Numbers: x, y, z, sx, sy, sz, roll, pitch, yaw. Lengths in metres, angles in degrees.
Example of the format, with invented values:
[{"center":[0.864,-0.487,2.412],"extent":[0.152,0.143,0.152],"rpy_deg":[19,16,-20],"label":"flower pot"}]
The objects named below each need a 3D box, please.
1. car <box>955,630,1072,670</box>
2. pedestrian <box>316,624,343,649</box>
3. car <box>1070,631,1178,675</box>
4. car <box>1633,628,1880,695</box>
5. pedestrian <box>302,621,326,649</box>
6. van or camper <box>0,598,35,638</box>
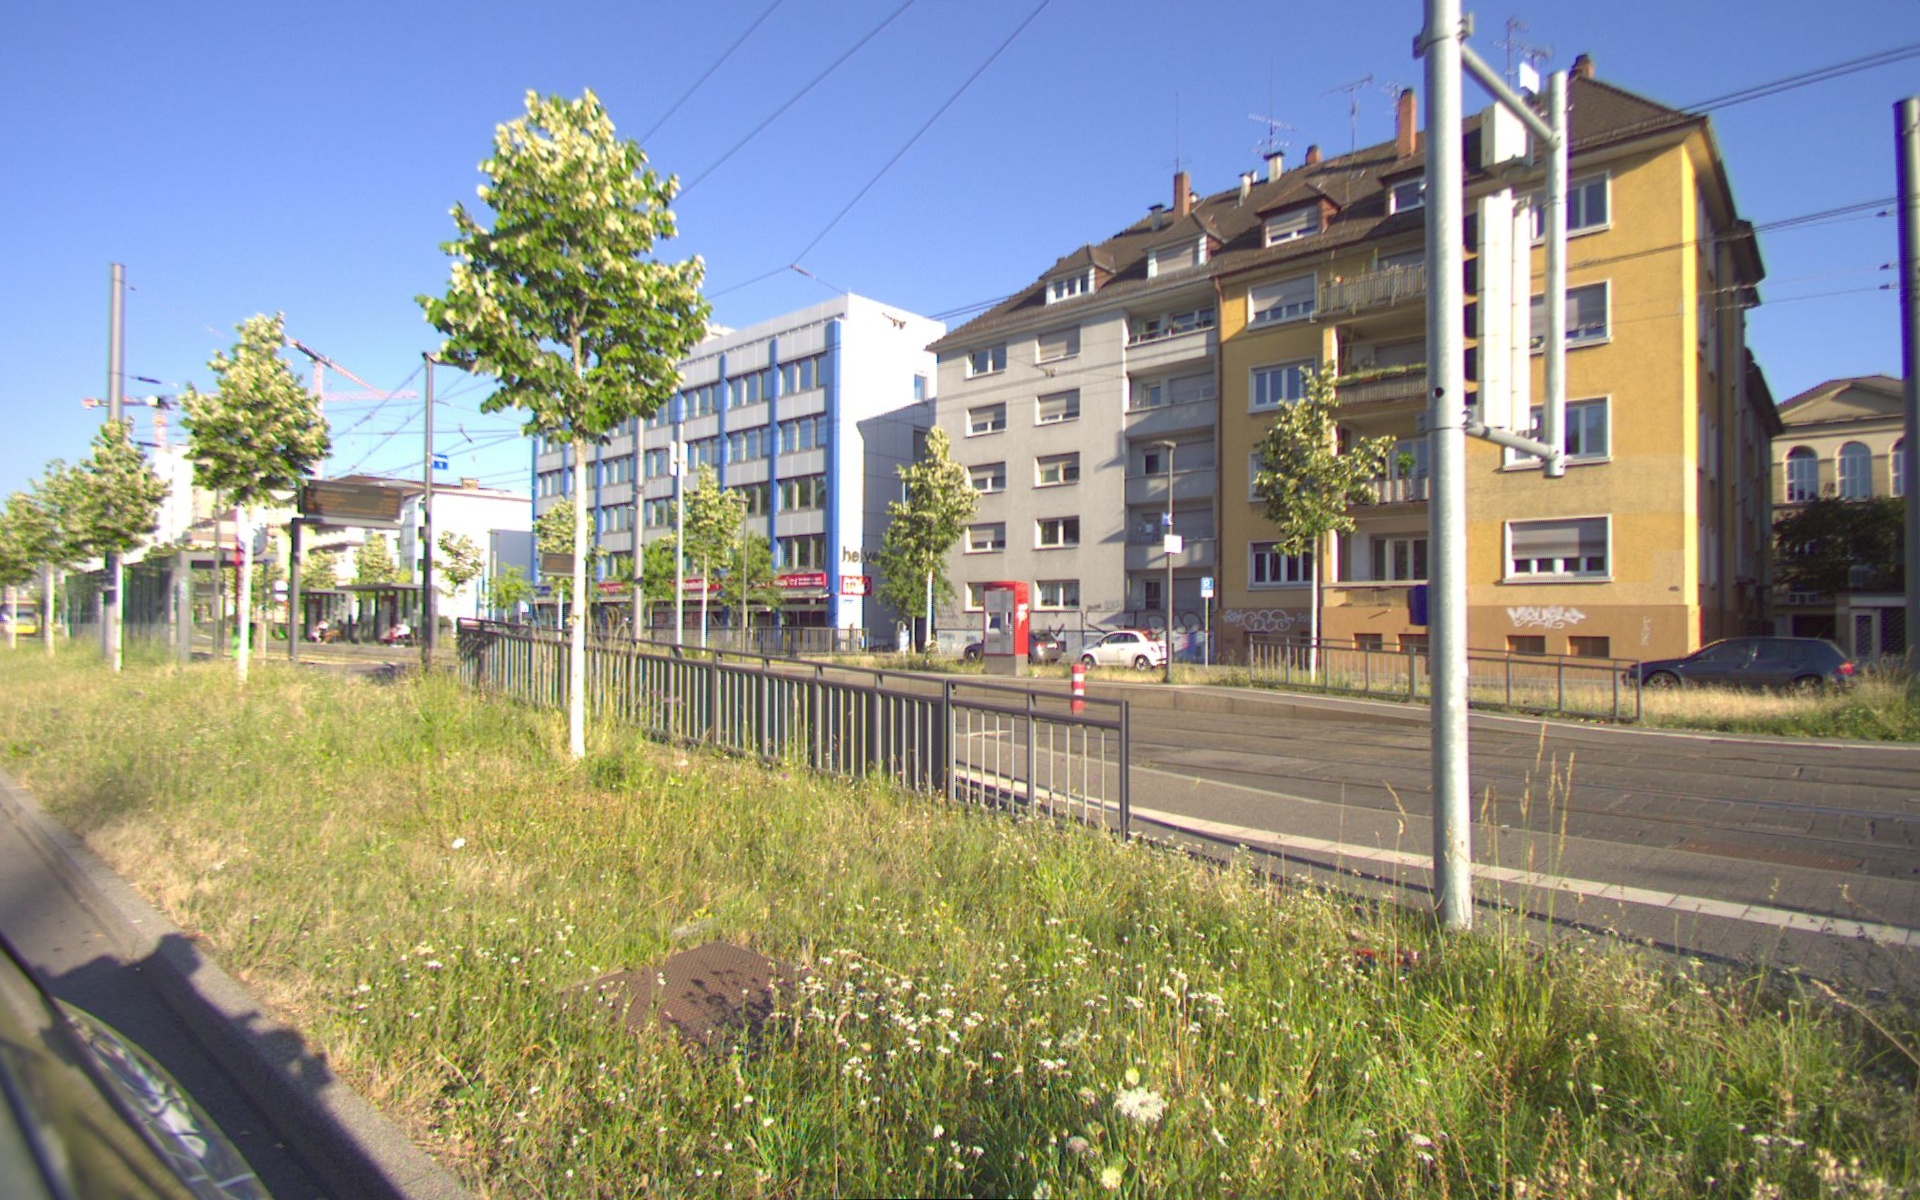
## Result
[{"center":[2.108,1.954,40.724],"extent":[4.429,1.519,1.973],"rpy_deg":[-1,-2,41],"label":"car"},{"center":[-31.681,1.836,50.862],"extent":[0.764,1.206,0.924],"rpy_deg":[-1,-2,41],"label":"pedestrian"},{"center":[6.007,1.909,37.224],"extent":[3.551,1.497,1.729],"rpy_deg":[-1,-2,41],"label":"car"},{"center":[16.884,1.245,21.563],"extent":[4.000,1.298,1.821],"rpy_deg":[-1,-2,43],"label":"car"},{"center":[-33.572,1.806,52.608],"extent":[0.803,1.421,0.829],"rpy_deg":[-1,-2,41],"label":"pedestrian"},{"center":[-78.615,1.549,83.926],"extent":[7.479,3.192,2.476],"rpy_deg":[-2,-2,45],"label":"van or camper"}]
